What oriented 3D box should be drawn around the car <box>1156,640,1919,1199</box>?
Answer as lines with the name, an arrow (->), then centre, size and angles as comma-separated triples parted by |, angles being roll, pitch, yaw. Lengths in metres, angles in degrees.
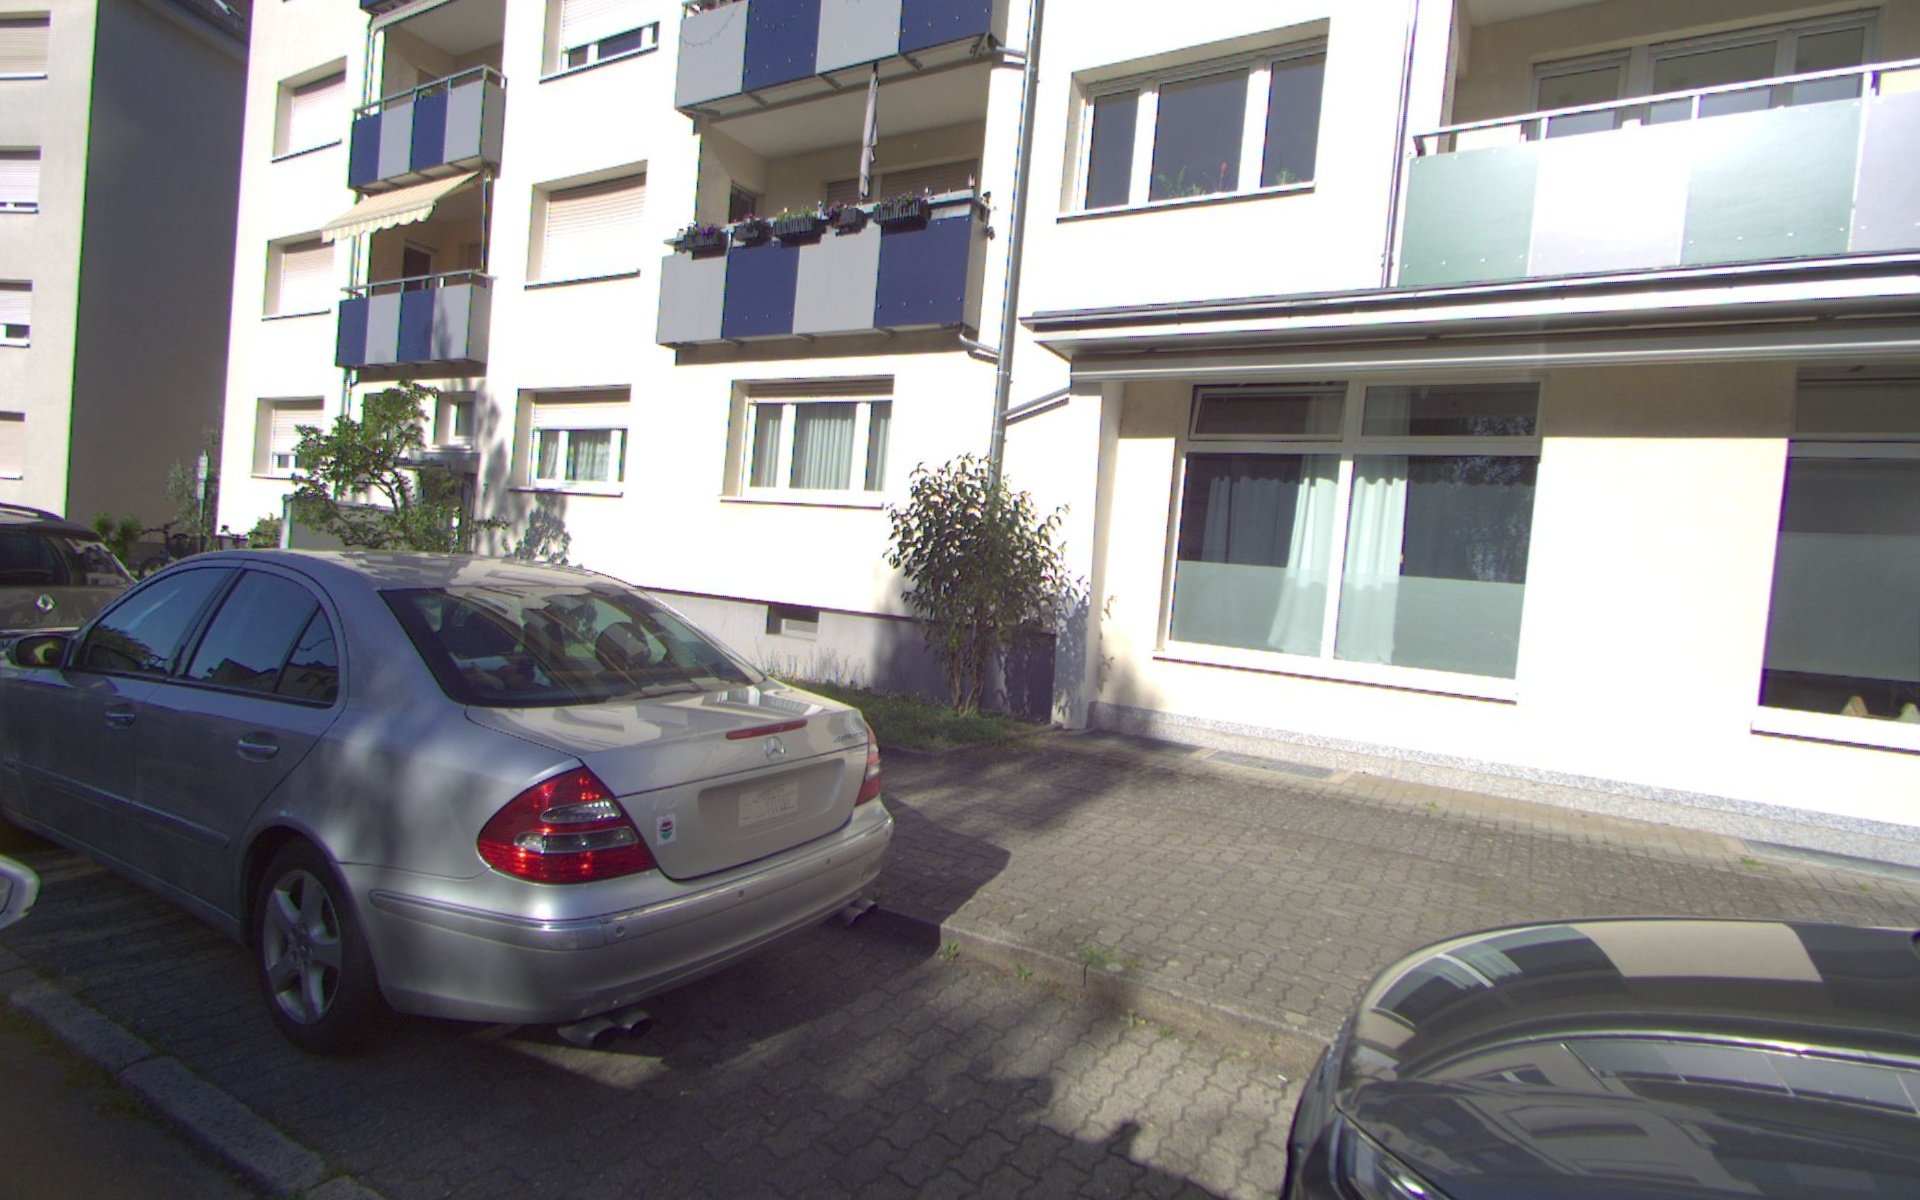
car -> 2.633, 0.979, 1.102 | 4.468, 1.425, 1.680 | 5, 0, 29

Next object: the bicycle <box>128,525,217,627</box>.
bicycle -> -10.439, -0.336, 13.315 | 1.735, 1.219, 0.513 | 6, 4, 38

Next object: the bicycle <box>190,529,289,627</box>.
bicycle -> -10.047, -0.320, 14.002 | 1.804, 1.219, 0.514 | 6, 3, 34

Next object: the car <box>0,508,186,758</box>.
car -> -7.626, 0.033, 6.835 | 4.603, 1.451, 1.696 | 4, 2, 23

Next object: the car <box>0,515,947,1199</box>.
car -> -2.517, 0.520, 4.192 | 4.645, 1.465, 1.680 | 5, 0, 30
